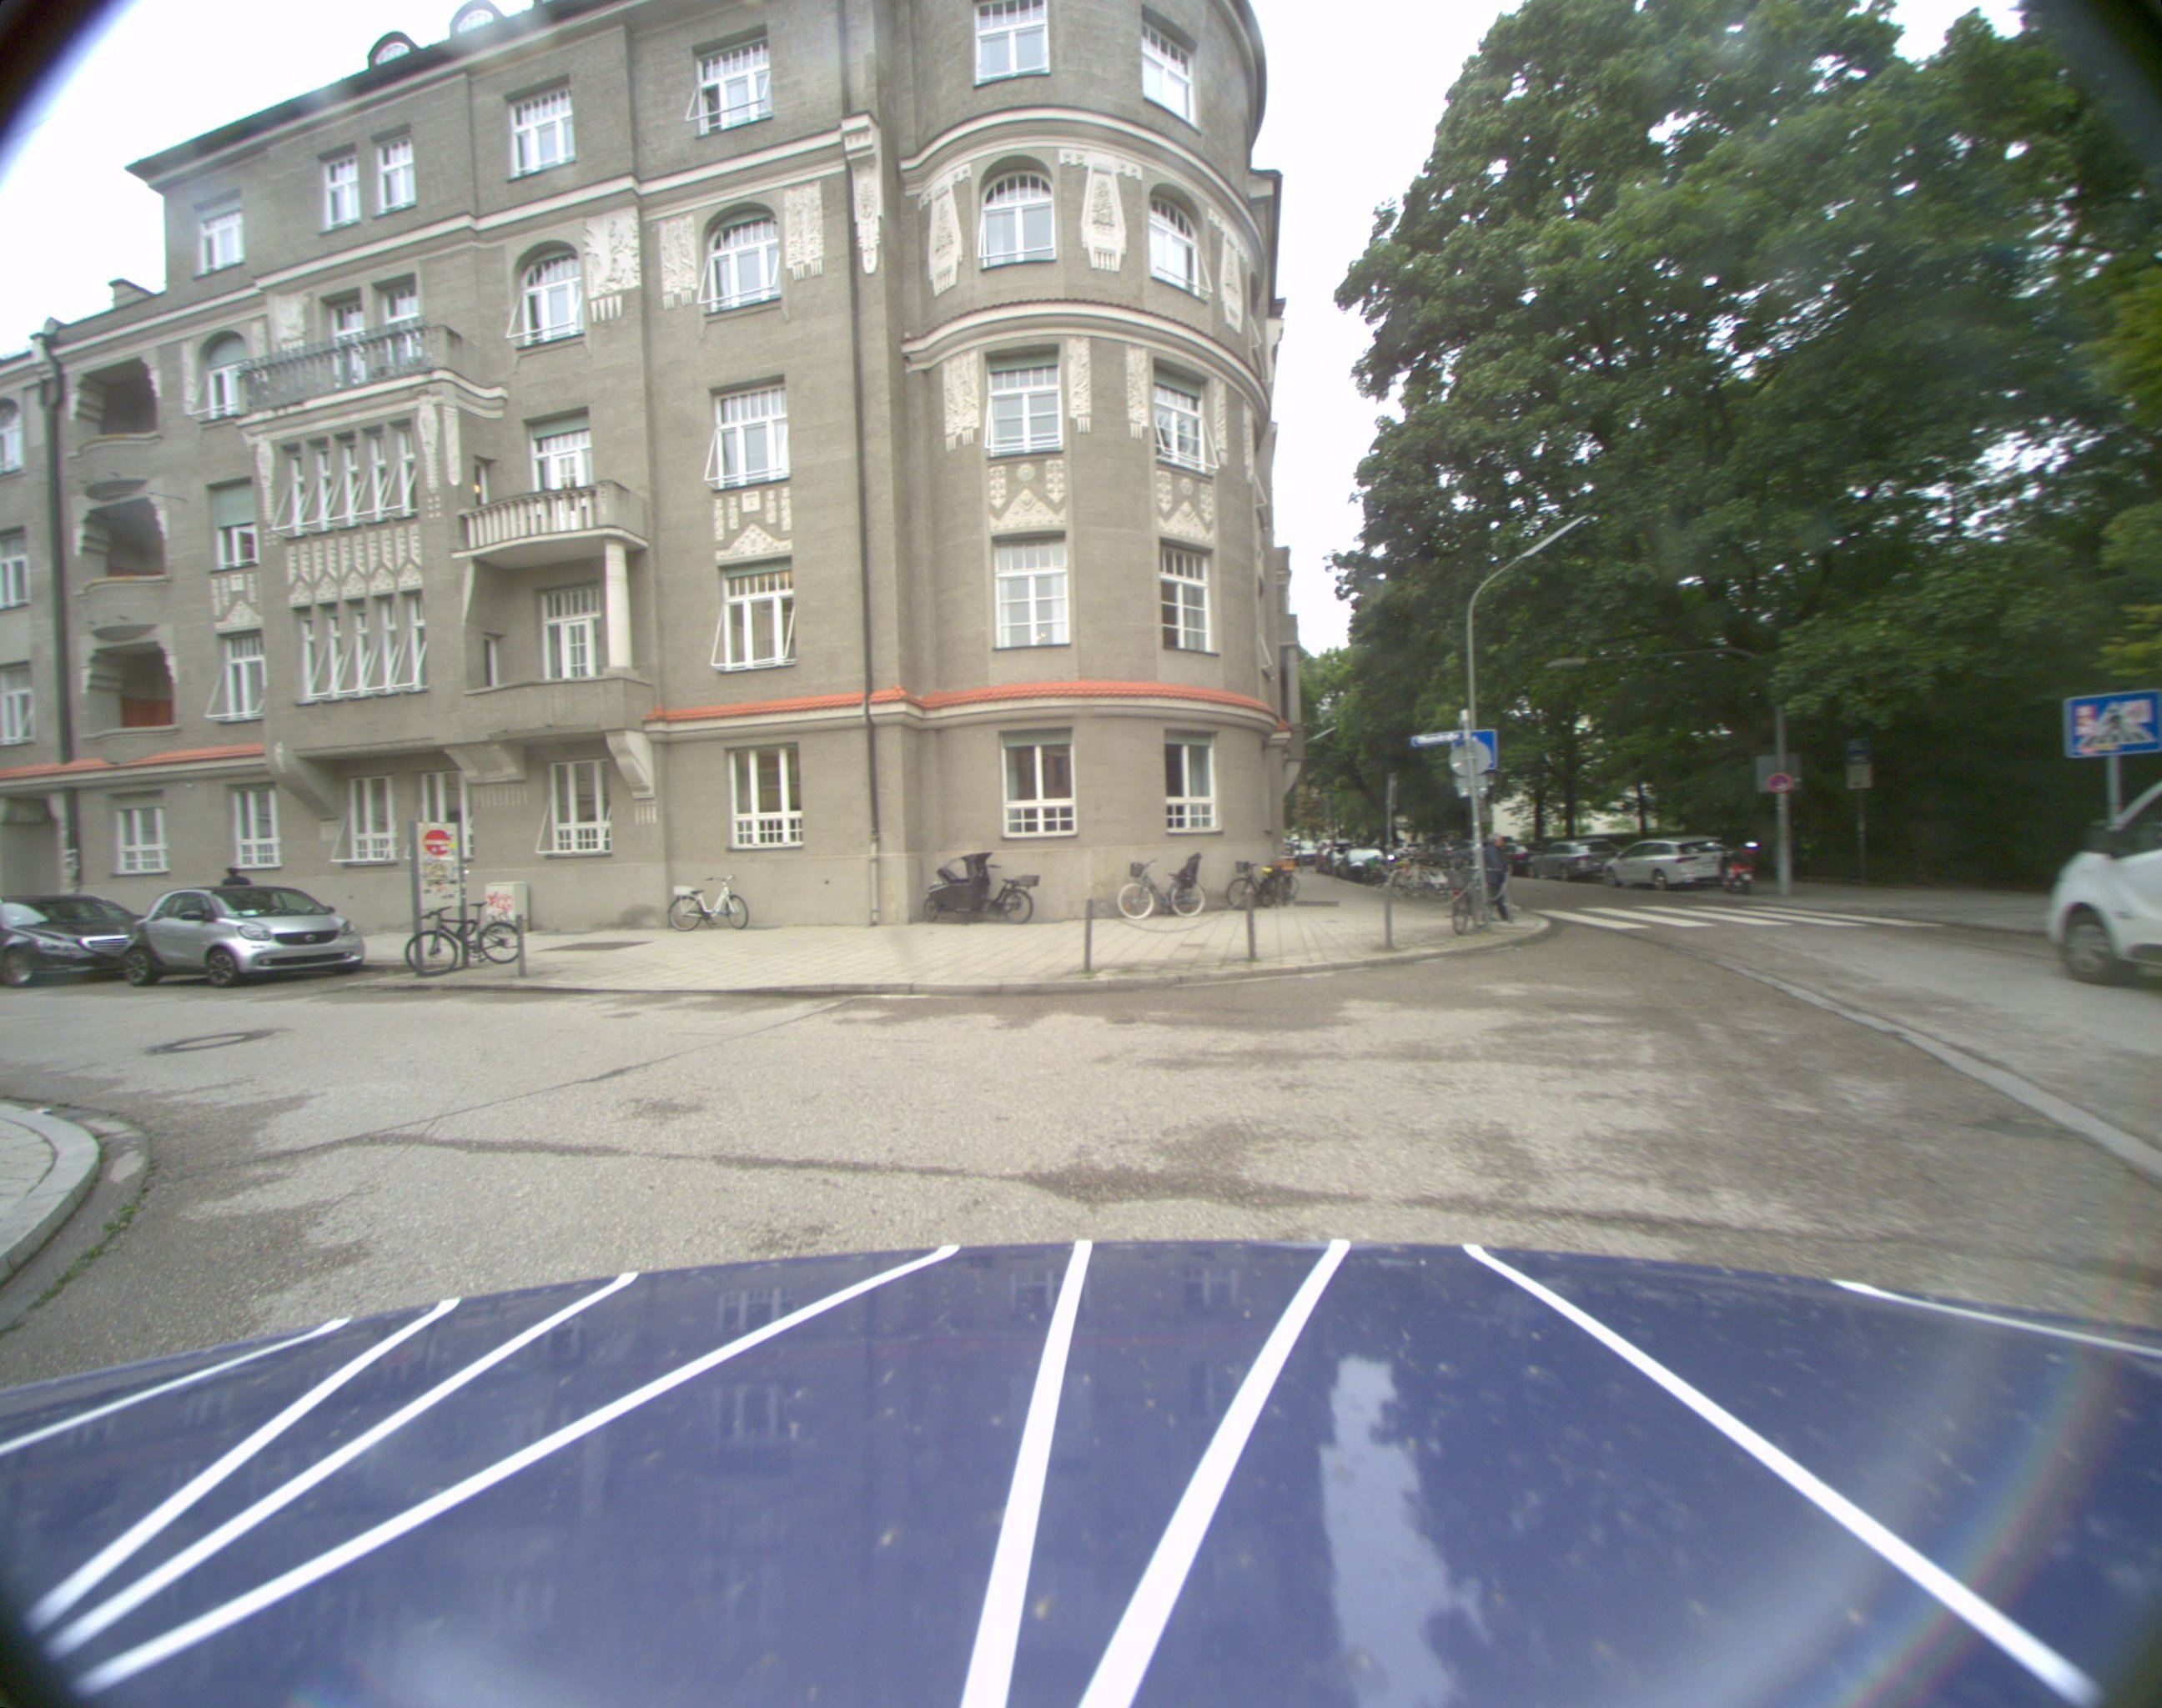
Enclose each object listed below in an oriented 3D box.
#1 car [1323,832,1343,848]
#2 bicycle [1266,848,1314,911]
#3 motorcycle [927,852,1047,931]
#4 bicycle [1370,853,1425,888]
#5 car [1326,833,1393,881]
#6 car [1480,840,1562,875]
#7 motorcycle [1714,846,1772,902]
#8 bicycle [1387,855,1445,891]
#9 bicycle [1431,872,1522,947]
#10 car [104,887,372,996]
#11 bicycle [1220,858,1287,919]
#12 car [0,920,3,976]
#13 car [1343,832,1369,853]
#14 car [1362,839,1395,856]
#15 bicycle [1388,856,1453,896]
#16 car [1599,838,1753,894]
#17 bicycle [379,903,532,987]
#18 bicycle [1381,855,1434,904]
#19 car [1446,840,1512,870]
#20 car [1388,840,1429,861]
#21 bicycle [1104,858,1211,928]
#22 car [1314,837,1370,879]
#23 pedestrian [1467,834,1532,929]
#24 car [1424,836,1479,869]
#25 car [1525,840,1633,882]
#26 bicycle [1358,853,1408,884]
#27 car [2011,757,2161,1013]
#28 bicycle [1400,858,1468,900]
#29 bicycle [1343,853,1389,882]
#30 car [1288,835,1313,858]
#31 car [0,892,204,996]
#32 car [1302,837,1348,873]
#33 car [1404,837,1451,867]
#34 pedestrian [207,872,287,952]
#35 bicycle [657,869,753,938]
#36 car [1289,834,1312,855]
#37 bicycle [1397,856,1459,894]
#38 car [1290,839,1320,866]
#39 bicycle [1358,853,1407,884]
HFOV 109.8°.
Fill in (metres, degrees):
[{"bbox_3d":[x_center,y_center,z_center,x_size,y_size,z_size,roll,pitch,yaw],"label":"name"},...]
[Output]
[{"bbox_3d":[32.570,-1.776,98.225,1.996,1.941,4.665,-2,1,14],"label":"car"},{"bbox_3d":[5.077,0.586,18.359,0.736,1.405,1.929,-1,2,26],"label":"bicycle"},{"bbox_3d":[-1.811,0.727,14.765,2.143,1.432,0.739,-2,2,12],"label":"motorcycle"},{"bbox_3d":[10.911,0.577,26.223,1.680,1.140,0.513,-1,2,29],"label":"bicycle"},{"bbox_3d":[12.294,0.066,33.827,1.997,1.941,4.663,-2,1,11],"label":"car"},{"bbox_3d":[19.799,0.140,34.407,1.774,1.424,4.520,-2,0,10],"label":"car"},{"bbox_3d":[15.611,0.455,17.954,0.857,1.176,2.009,-5,-1,38],"label":"motorcycle"},{"bbox_3d":[11.055,0.633,25.088,1.680,1.140,0.513,-1,2,29],"label":"bicycle"},{"bbox_3d":[6.274,0.836,11.999,2.011,1.004,0.510,-3,2,-39],"label":"bicycle"},{"bbox_3d":[-13.567,1.361,12.298,2.905,1.506,1.711,-2,1,15],"label":"car"},{"bbox_3d":[3.790,0.714,16.557,0.563,1.151,1.930,3,4,41],"label":"bicycle"},{"bbox_3d":[-23.397,1.803,14.583,4.089,1.323,1.763,-2,1,15],"label":"car"},{"bbox_3d":[27.494,-1.167,76.105,1.996,1.941,4.665,-2,1,14],"label":"car"},{"bbox_3d":[25.440,-0.560,65.076,1.774,1.424,4.520,-2,0,10],"label":"car"},{"bbox_3d":[10.027,0.641,22.469,1.680,1.140,0.467,-1,2,29],"label":"bicycle"},{"bbox_3d":[17.166,0.293,22.219,1.622,1.440,4.438,-1,1,9],"label":"car"},{"bbox_3d":[-9.521,1.357,11.672,0.539,1.009,1.809,-2,2,13],"label":"bicycle"},{"bbox_3d":[8.483,0.640,19.711,1.687,1.140,0.510,-3,2,-39],"label":"bicycle"},{"bbox_3d":[20.647,0.036,39.624,1.774,1.424,4.520,-2,0,10],"label":"car"},{"bbox_3d":[23.705,-0.284,55.176,1.774,1.424,4.520,-2,0,10],"label":"car"},{"bbox_3d":[1.502,0.741,14.986,1.927,1.249,0.737,-2,2,-17],"label":"bicycle"},{"bbox_3d":[13.275,0.134,38.904,1.997,1.941,4.663,-2,1,11],"label":"car"},{"bbox_3d":[7.536,0.475,13.686,0.814,1.632,0.724,-3,2,-35],"label":"pedestrian"},{"bbox_3d":[21.815,-0.118,44.922,1.774,1.808,4.519,-2,1,10],"label":"car"},{"bbox_3d":[18.628,0.233,28.674,1.774,1.424,4.520,-2,0,10],"label":"car"},{"bbox_3d":[11.400,0.541,28.715,1.680,1.140,0.513,-1,2,29],"label":"bicycle"},{"bbox_3d":[9.205,0.263,5.065,2.041,2.030,4.966,1,2,29],"label":"car"},{"bbox_3d":[10.097,0.715,21.770,1.704,1.140,0.513,-1,2,29],"label":"bicycle"},{"bbox_3d":[11.551,0.537,30.783,1.680,1.140,0.513,-1,2,29],"label":"bicycle"},{"bbox_3d":[19.826,-0.751,68.846,1.996,1.941,4.665,-2,1,14],"label":"car"},{"bbox_3d":[-18.144,1.514,13.270,4.699,1.506,1.763,-2,1,15],"label":"car"},{"bbox_3d":[14.261,0.003,44.636,1.997,1.941,4.663,-2,1,11],"label":"car"},{"bbox_3d":[22.721,-0.172,49.994,1.774,1.825,4.520,-2,0,10],"label":"car"},{"bbox_3d":[-19.268,1.324,17.563,0.934,1.777,0.842,-2,2,17],"label":"pedestrian"},{"bbox_3d":[-7.766,1.017,15.716,1.673,1.342,0.621,-2,2,10],"label":"bicycle"},{"bbox_3d":[21.904,-0.964,76.008,1.996,1.941,4.665,-2,1,14],"label":"car"},{"bbox_3d":[10.818,0.649,23.699,1.680,1.140,0.513,-1,2,29],"label":"bicycle"},{"bbox_3d":[17.640,-0.138,59.910,1.996,1.941,4.665,-2,1,14],"label":"car"},{"bbox_3d":[11.691,0.557,29.501,1.680,1.140,0.513,-1,2,29],"label":"bicycle"}]
